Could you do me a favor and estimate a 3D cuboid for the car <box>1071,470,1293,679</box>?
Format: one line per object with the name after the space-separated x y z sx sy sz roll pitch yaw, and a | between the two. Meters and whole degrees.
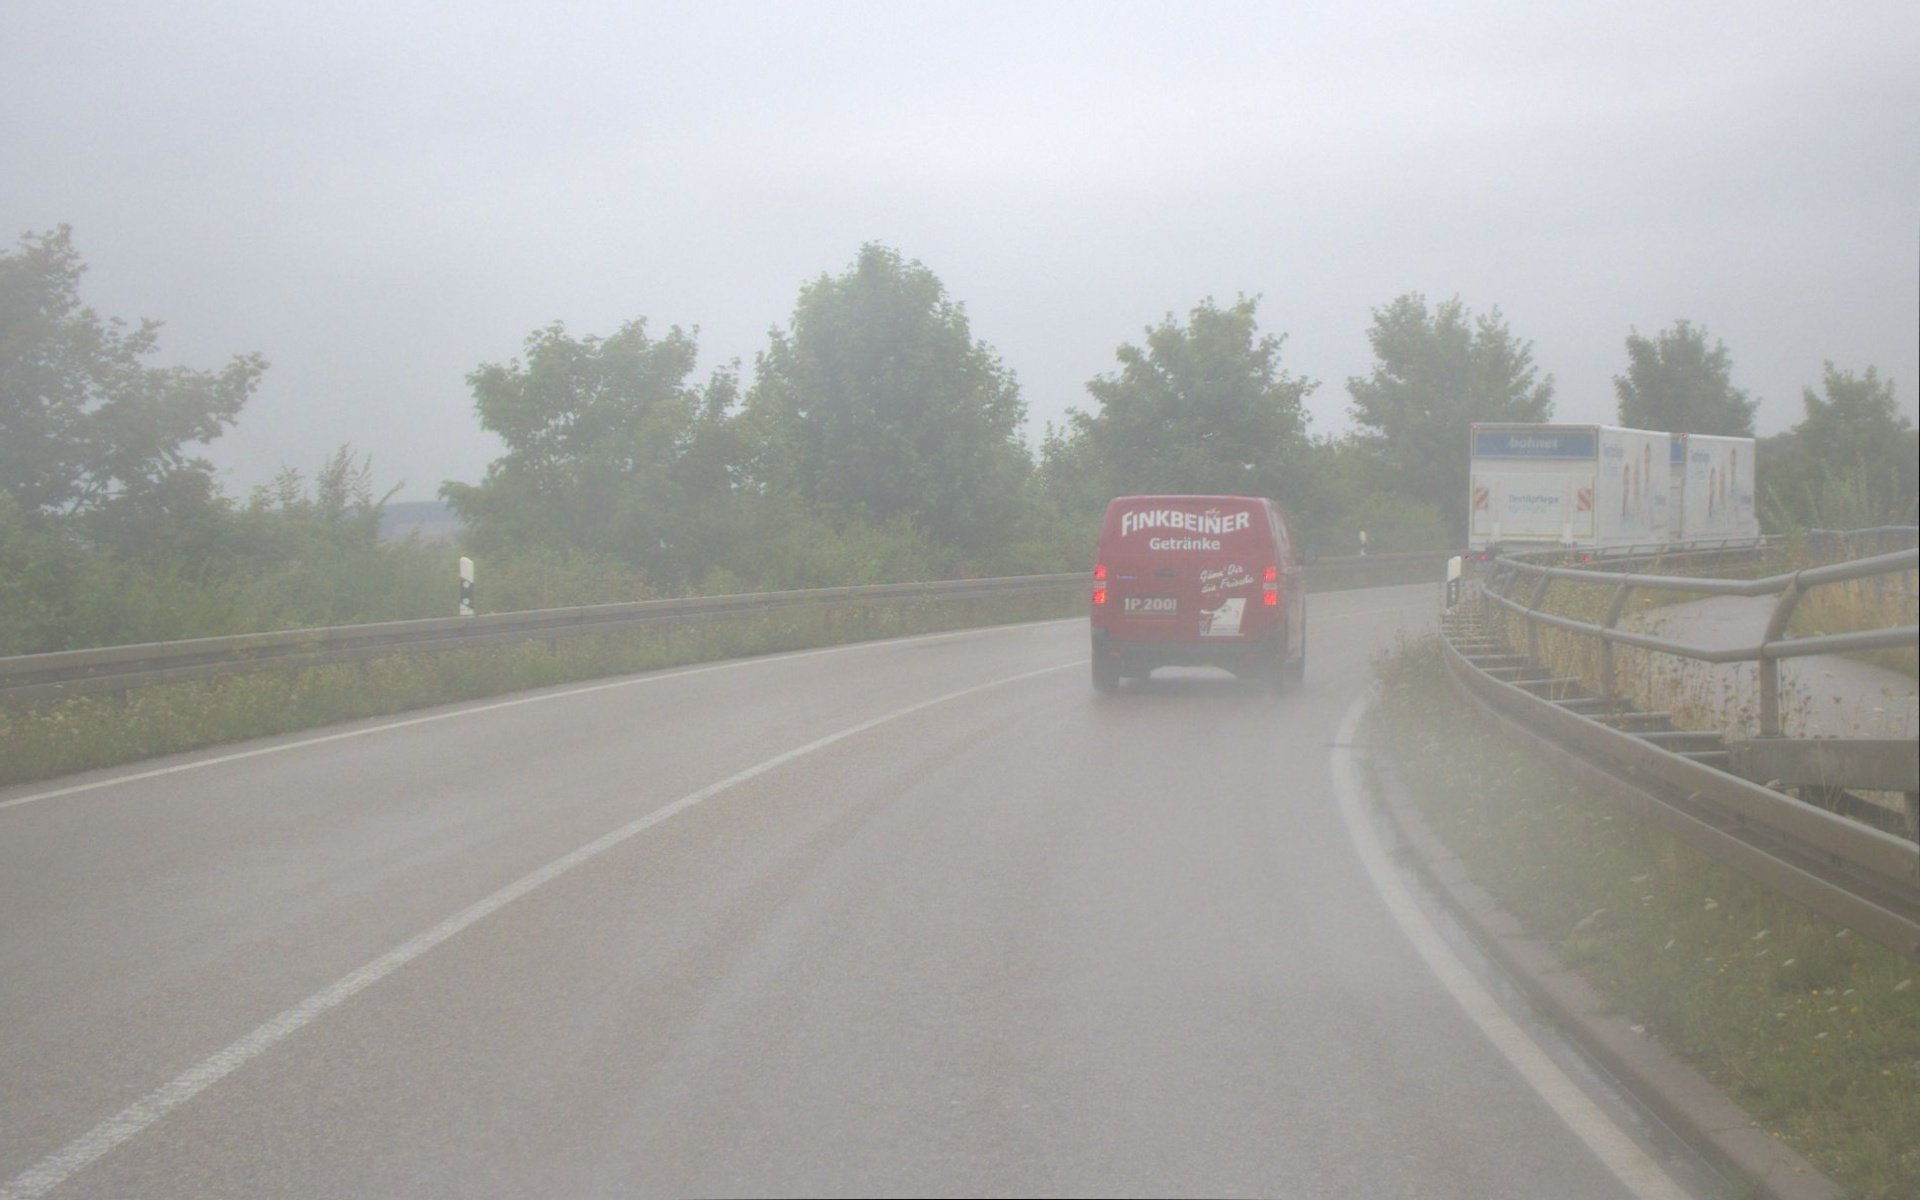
2.270 -0.302 34.216 1.994 1.919 4.143 -1 2 6 | car

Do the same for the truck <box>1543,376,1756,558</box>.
15.875 -2.976 78.619 3.205 3.908 8.730 1 1 22 | truck

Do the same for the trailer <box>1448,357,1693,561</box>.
12.641 -2.808 70.525 3.205 3.908 8.730 1 1 22 | trailer
